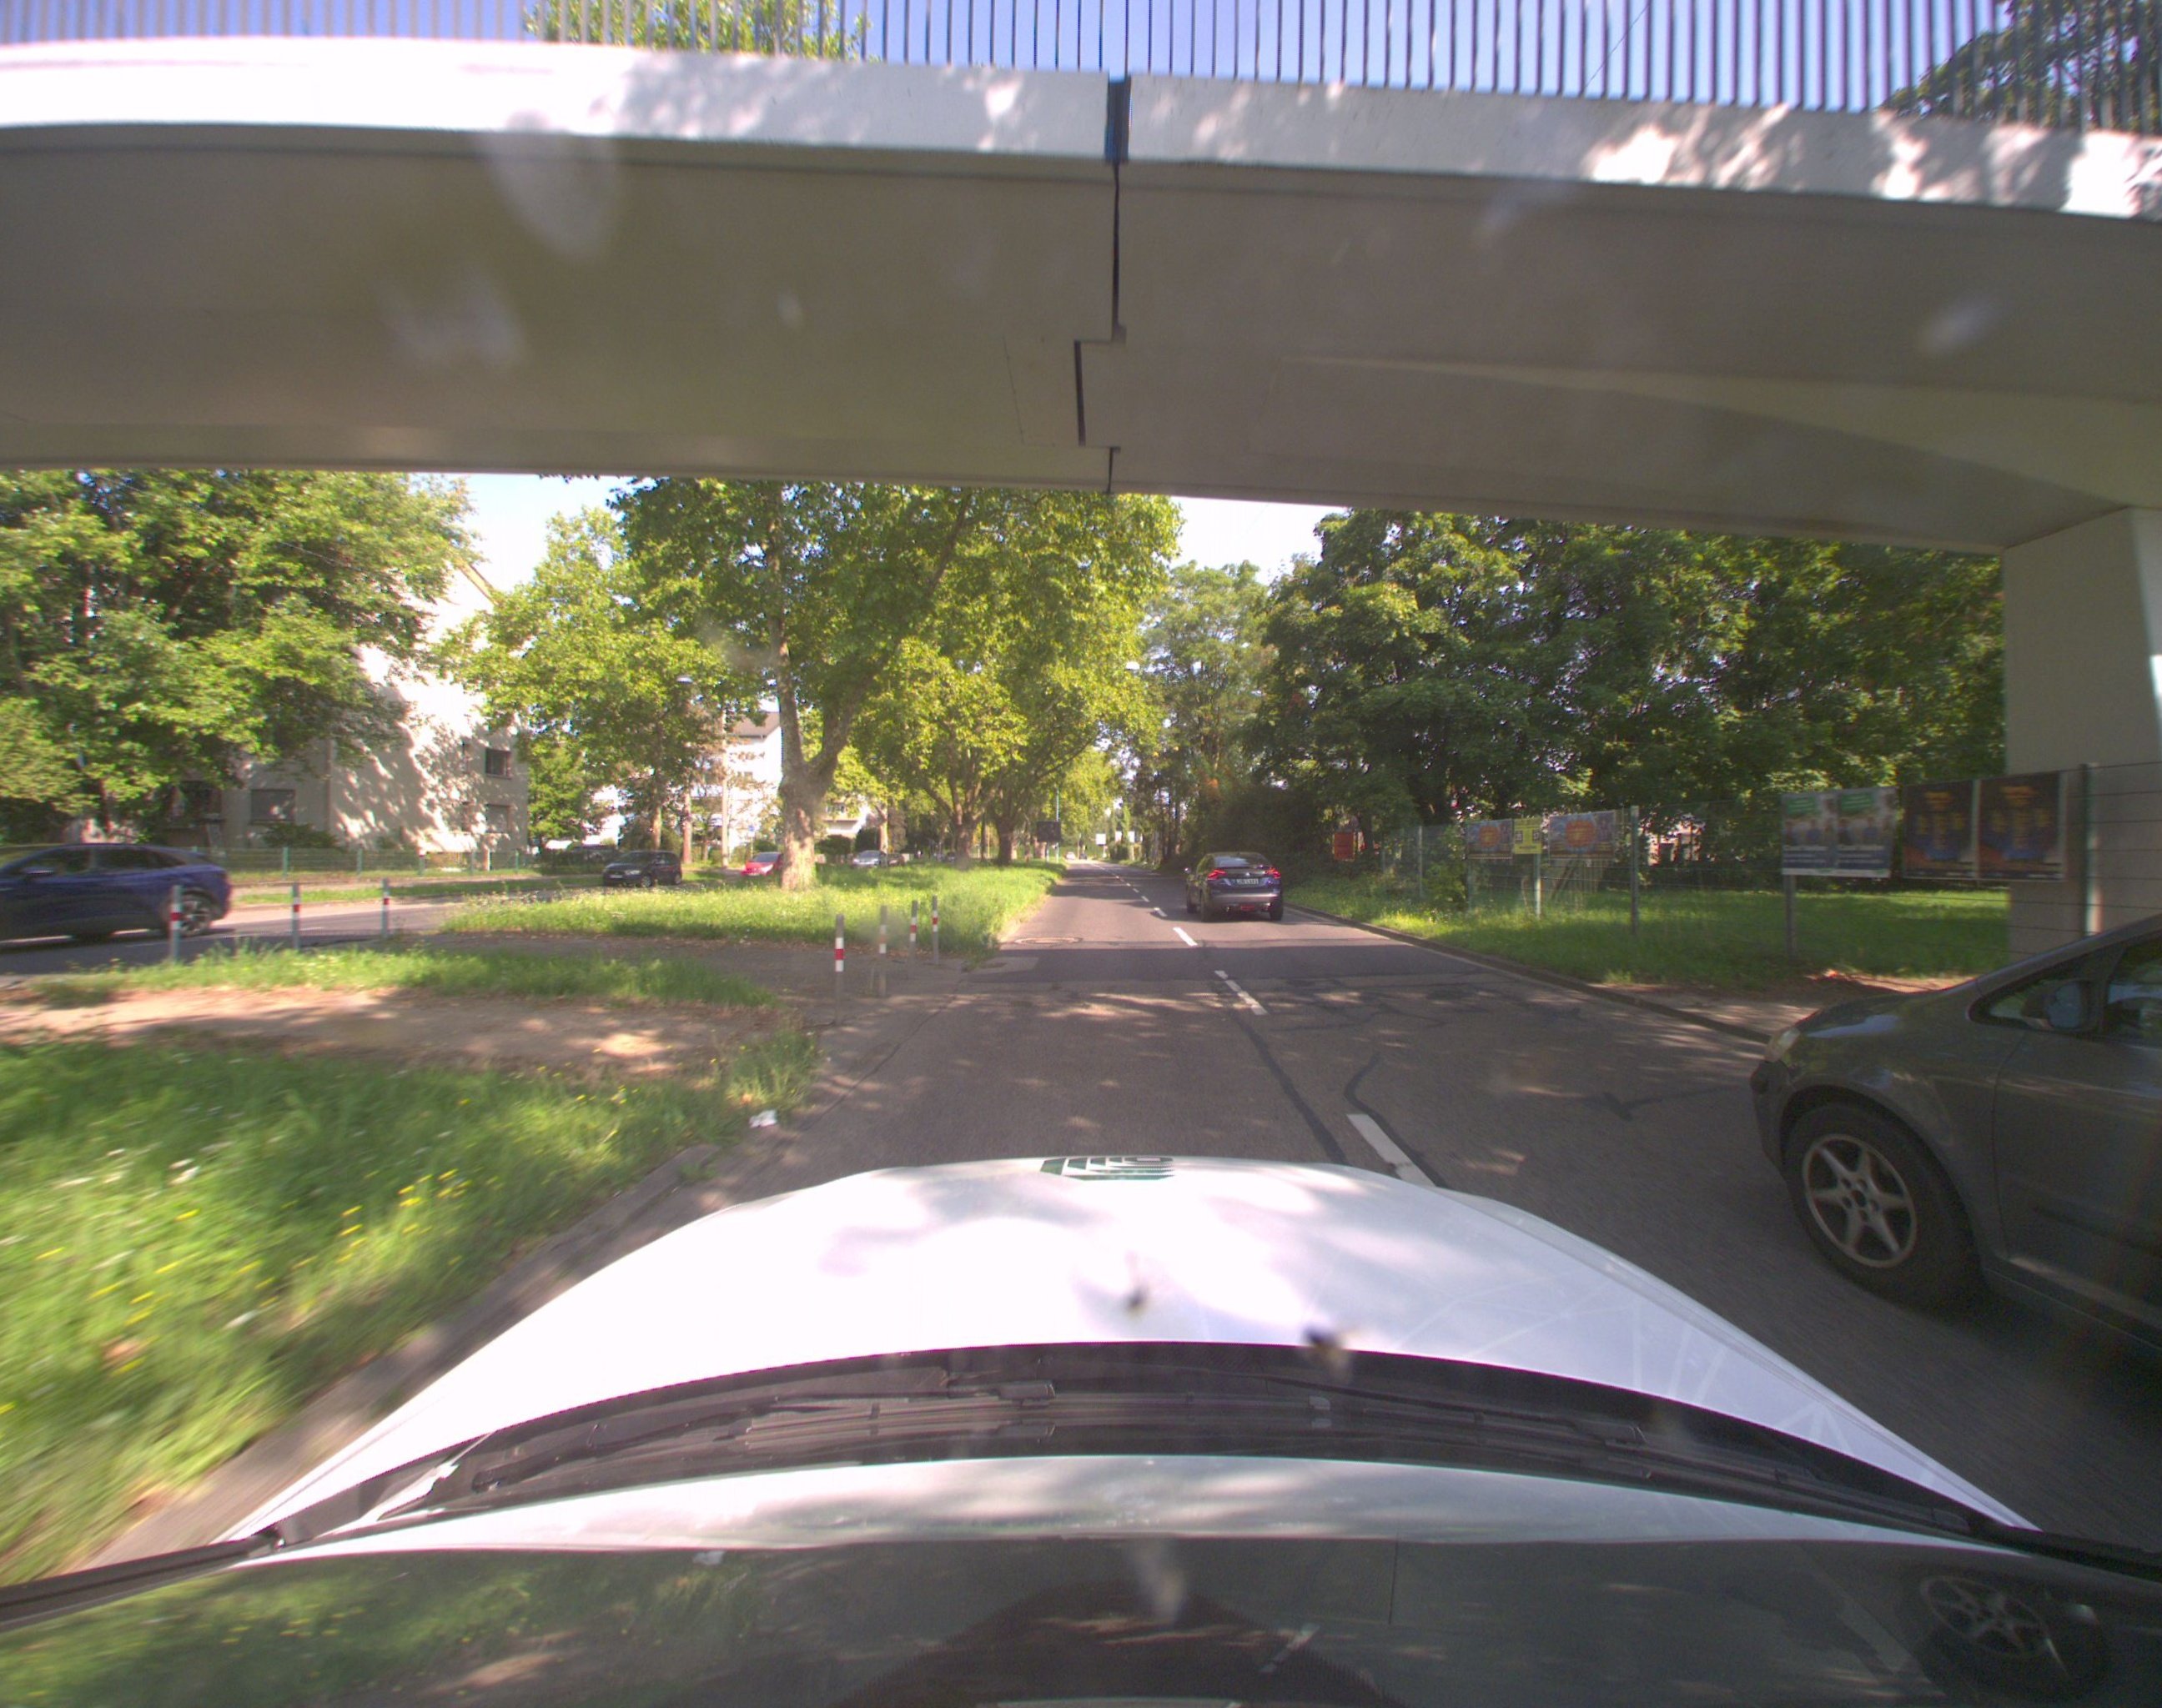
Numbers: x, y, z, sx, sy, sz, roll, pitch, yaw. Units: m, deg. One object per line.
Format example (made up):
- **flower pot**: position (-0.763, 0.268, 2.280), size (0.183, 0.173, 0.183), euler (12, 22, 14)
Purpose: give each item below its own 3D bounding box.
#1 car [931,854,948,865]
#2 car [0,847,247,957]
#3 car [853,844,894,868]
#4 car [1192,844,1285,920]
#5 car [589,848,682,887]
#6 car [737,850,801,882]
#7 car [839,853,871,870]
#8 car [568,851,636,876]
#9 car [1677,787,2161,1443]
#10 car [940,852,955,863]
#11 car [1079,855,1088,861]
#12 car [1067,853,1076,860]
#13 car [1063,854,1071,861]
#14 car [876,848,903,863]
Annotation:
- **car**: position (-20.008, 0.740, 115.152), size (1.694, 1.508, 4.538), euler (0, 0, -1)
- **car**: position (-16.027, 0.670, 12.491), size (1.781, 1.533, 4.457), euler (1, 0, 1)
- **car**: position (-15.370, 0.147, 60.683), size (1.796, 1.719, 4.720), euler (0, 0, 0)
- **car**: position (3.595, 0.601, 19.264), size (1.638, 1.588, 4.259), euler (-1, 0, 4)
- **car**: position (-18.629, 0.541, 34.267), size (1.515, 1.533, 3.869), euler (0, 0, 5)
- **car**: position (-15.646, 0.594, 41.058), size (1.686, 1.533, 4.068), euler (0, 0, -1)
- **car**: position (-19.486, 0.651, 70.389), size (1.533, 1.451, 4.064), euler (1, 0, 0)
- **car**: position (-34.451, 0.695, 58.563), size (4.017, 1.772, 1.978), euler (1, 0, -36)
- **car**: position (3.377, 0.623, 1.634), size (1.639, 1.556, 3.901), euler (1, 0, 2)
- **car**: position (-20.272, 0.562, 123.436), size (1.694, 1.568, 3.998), euler (0, 0, -1)
- **car**: position (0.513, 0.911, 184.756), size (1.793, 1.401, 3.997), euler (1, 0, -2)
- **car**: position (-2.024, 0.572, 174.122), size (1.682, 1.462, 3.999), euler (1, 0, -1)
- **car**: position (-3.204, 0.834, 185.541), size (1.680, 1.462, 3.852), euler (1, 0, 3)
- **car**: position (-19.378, 0.115, 82.577), size (1.796, 1.430, 4.064), euler (1, 0, 0)
